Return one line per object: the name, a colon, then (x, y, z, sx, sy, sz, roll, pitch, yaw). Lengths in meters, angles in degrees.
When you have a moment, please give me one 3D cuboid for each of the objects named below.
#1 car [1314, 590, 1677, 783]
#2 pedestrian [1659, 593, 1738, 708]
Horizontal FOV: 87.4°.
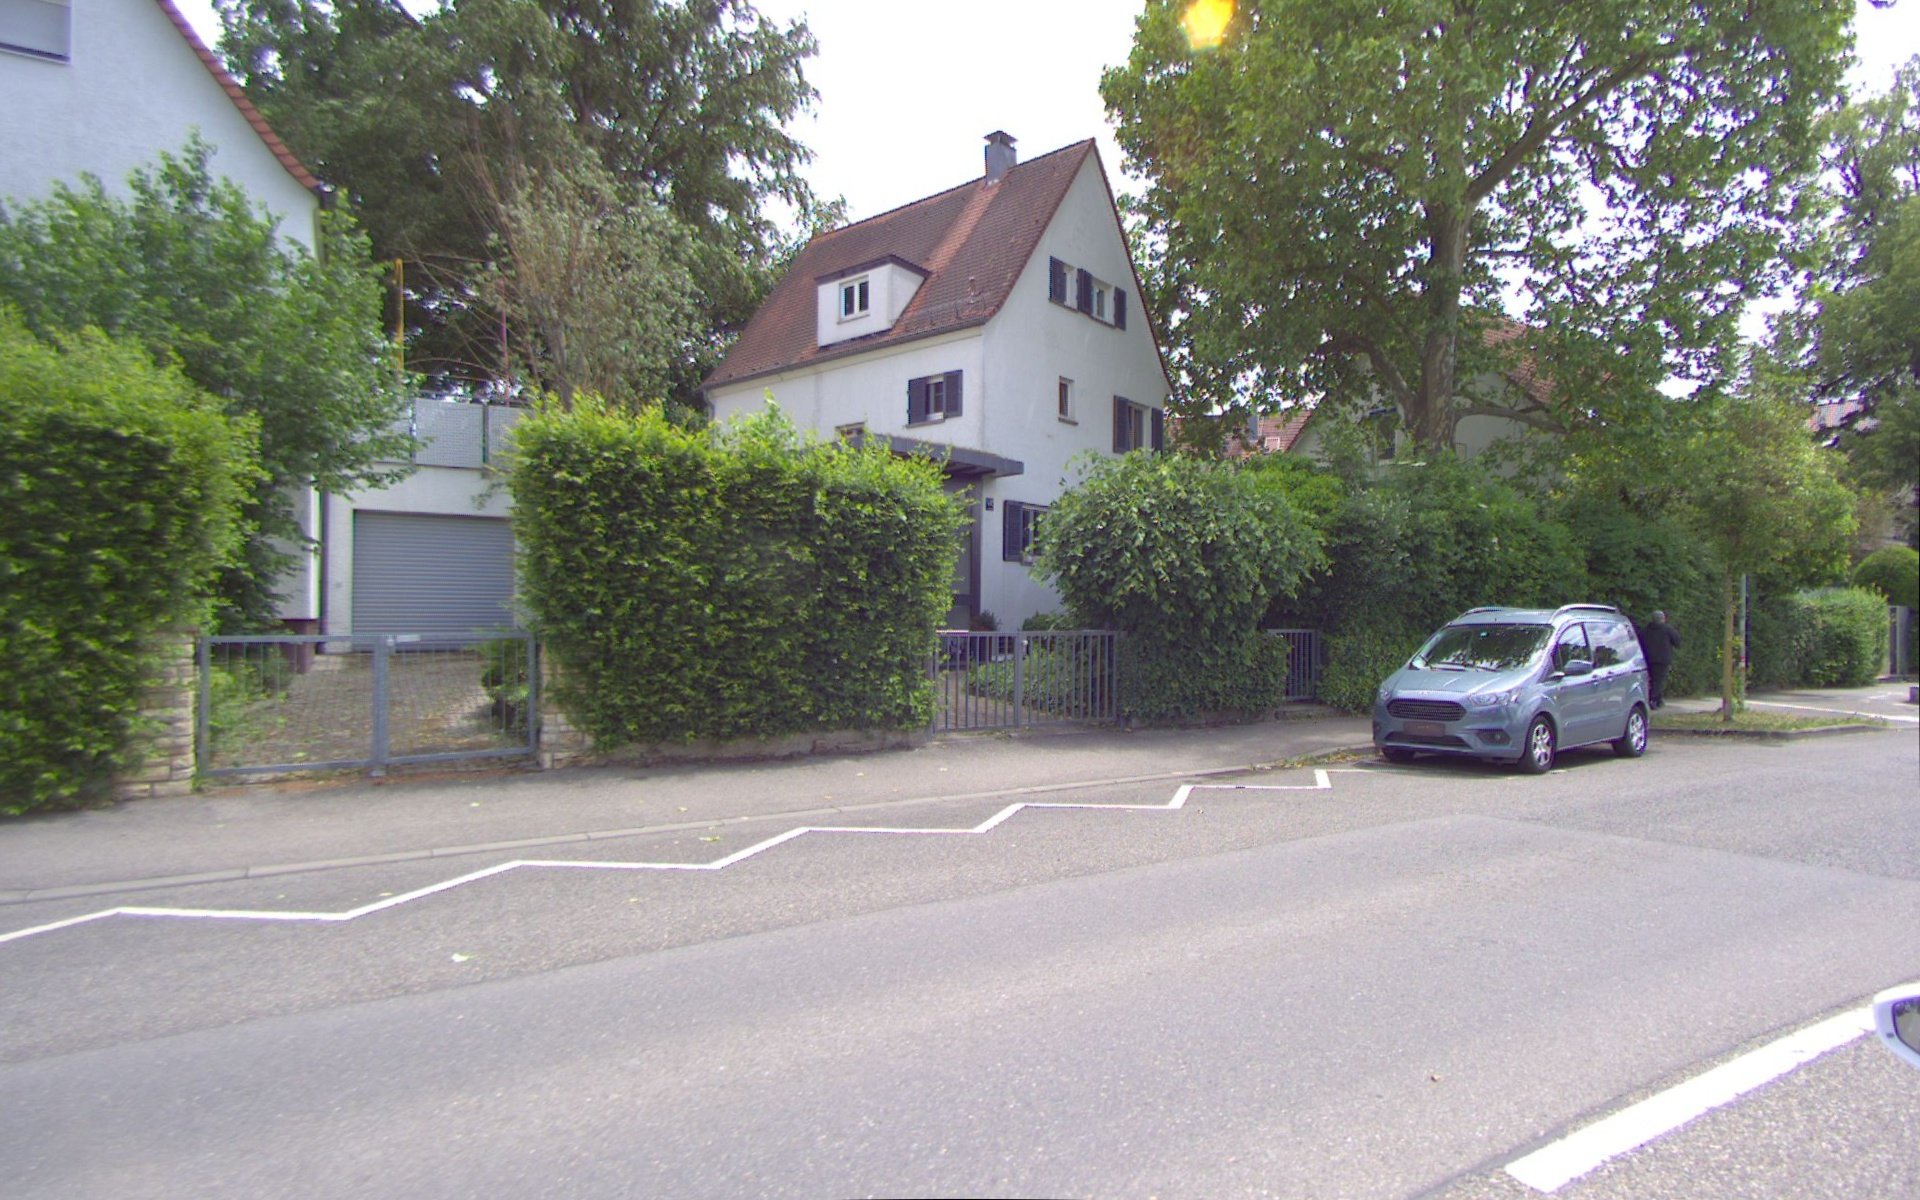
car: (6.309, 0.814, 11.653, 4.425, 1.796, 2.115, 0, 1, -38)
pedestrian: (13.615, 0.921, 18.519, 1.030, 2.040, 0.866, 1, -2, -35)
